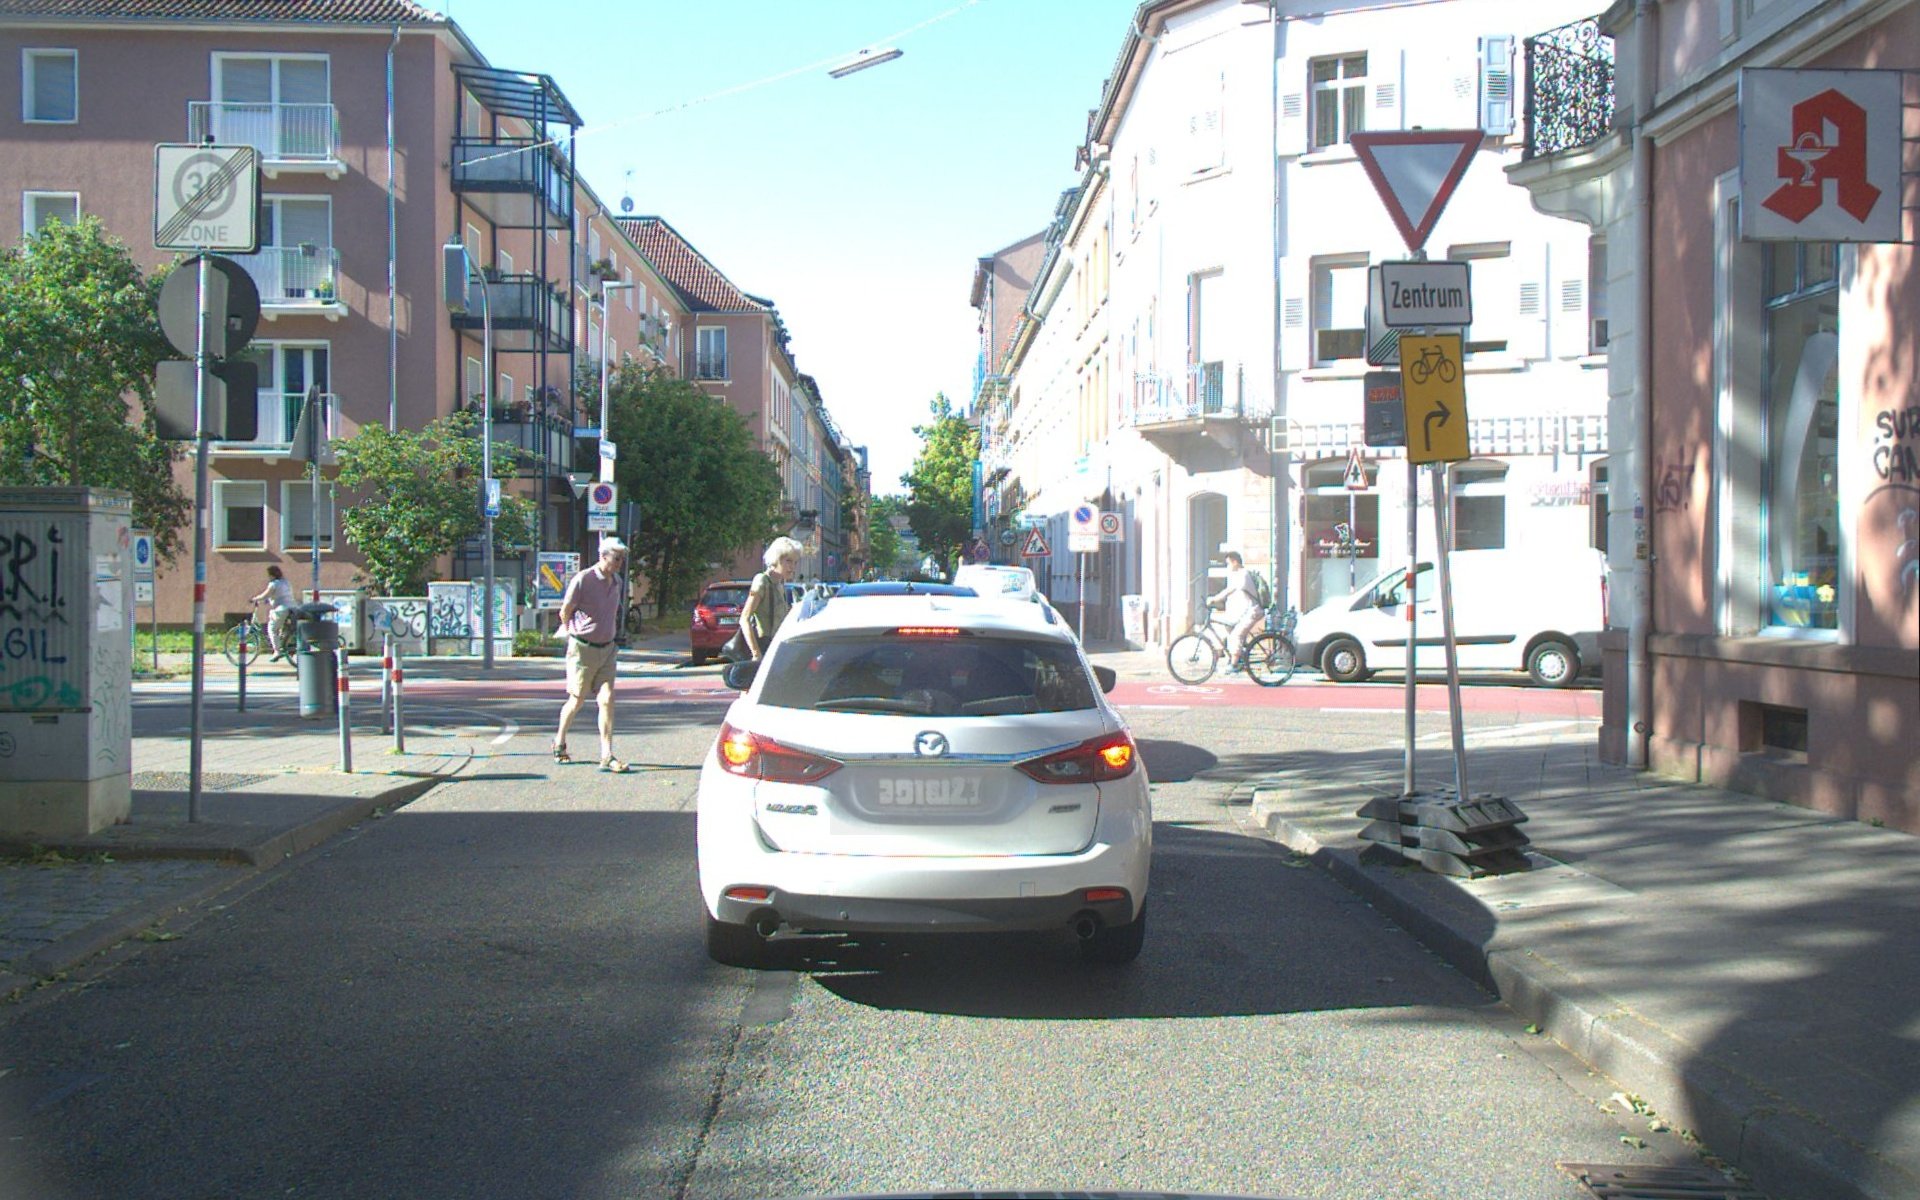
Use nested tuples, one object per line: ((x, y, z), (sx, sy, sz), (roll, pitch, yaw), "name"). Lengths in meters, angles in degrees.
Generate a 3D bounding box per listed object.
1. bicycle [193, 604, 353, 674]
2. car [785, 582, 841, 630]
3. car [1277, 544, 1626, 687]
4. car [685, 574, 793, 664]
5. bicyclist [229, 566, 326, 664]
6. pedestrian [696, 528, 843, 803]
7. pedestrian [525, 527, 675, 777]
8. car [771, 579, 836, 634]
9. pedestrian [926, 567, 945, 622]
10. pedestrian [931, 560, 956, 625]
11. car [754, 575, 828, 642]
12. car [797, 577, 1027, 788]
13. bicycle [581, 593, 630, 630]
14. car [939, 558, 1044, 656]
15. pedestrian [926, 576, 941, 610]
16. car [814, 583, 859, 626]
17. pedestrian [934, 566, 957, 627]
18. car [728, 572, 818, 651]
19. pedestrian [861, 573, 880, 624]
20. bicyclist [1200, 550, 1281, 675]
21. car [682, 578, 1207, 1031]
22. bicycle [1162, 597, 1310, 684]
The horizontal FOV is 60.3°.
((-11.101, 0.624, 26.735), (2.373, 1.098, 0.791), (0, 0, 13), "bicycle")
((-4.794, 0.189, 54.230), (1.569, 1.503, 3.566), (0, 0, -1), "car")
((7.314, 0.224, 24.611), (4.790, 1.962, 1.999), (0, -2, 23), "car")
((-4.255, 0.327, 32.331), (1.734, 1.616, 3.725), (0, 1, -2), "car")
((-11.011, 0.245, 26.692), (1.170, 1.543, 0.841), (0, 0, 13), "bicyclist")
((-1.311, 0.425, 11.527), (0.835, 1.846, 0.815), (0, 2, 6), "pedestrian")
((-2.814, 0.371, 12.932), (0.949, 1.870, 0.680), (2, 2, 33), "pedestrian")
((-4.714, 0.184, 50.219), (1.685, 1.604, 3.725), (0, 0, -1), "car")
((-0.981, -0.229, 65.656), (0.755, 2.155, 0.834), (0, 0, -1), "pedestrian")
((-0.501, -0.234, 50.194), (0.755, 1.952, 0.834), (0, 0, -1), "pedestrian")
((-4.398, 0.214, 43.442), (1.602, 1.685, 3.784), (0, 0, -1), "car")
((-0.418, 0.575, 13.718), (1.648, 1.507, 3.659), (0, 0, -2), "car")
((-9.320, 0.311, 43.451), (0.598, 0.948, 1.892), (0, 0, -34), "bicycle")
((0.619, 0.130, 35.712), (1.904, 1.982, 4.075), (1, 0, -4), "car")
((-1.283, -0.329, 80.340), (0.755, 1.655, 0.834), (0, 0, -1), "pedestrian")
((-4.804, 0.182, 64.541), (1.540, 1.613, 3.610), (0, 0, -1), "car")
((-0.472, -0.103, 53.573), (0.755, 1.952, 0.834), (0, 0, -1), "pedestrian")
((-4.233, 0.241, 37.932), (1.685, 1.712, 3.725), (0, 0, -1), "car")
((-3.247, -0.044, 60.074), (0.634, 1.828, 0.639), (0, 0, -1), "pedestrian")
((3.823, 0.168, 22.564), (1.067, 1.673, 0.757), (0, 0, 9), "bicyclist")
((-0.123, 0.685, 7.581), (1.787, 1.540, 3.822), (1, 1, -2), "car")
((3.763, 0.543, 22.547), (1.965, 1.164, 0.684), (0, 0, 11), "bicycle")
